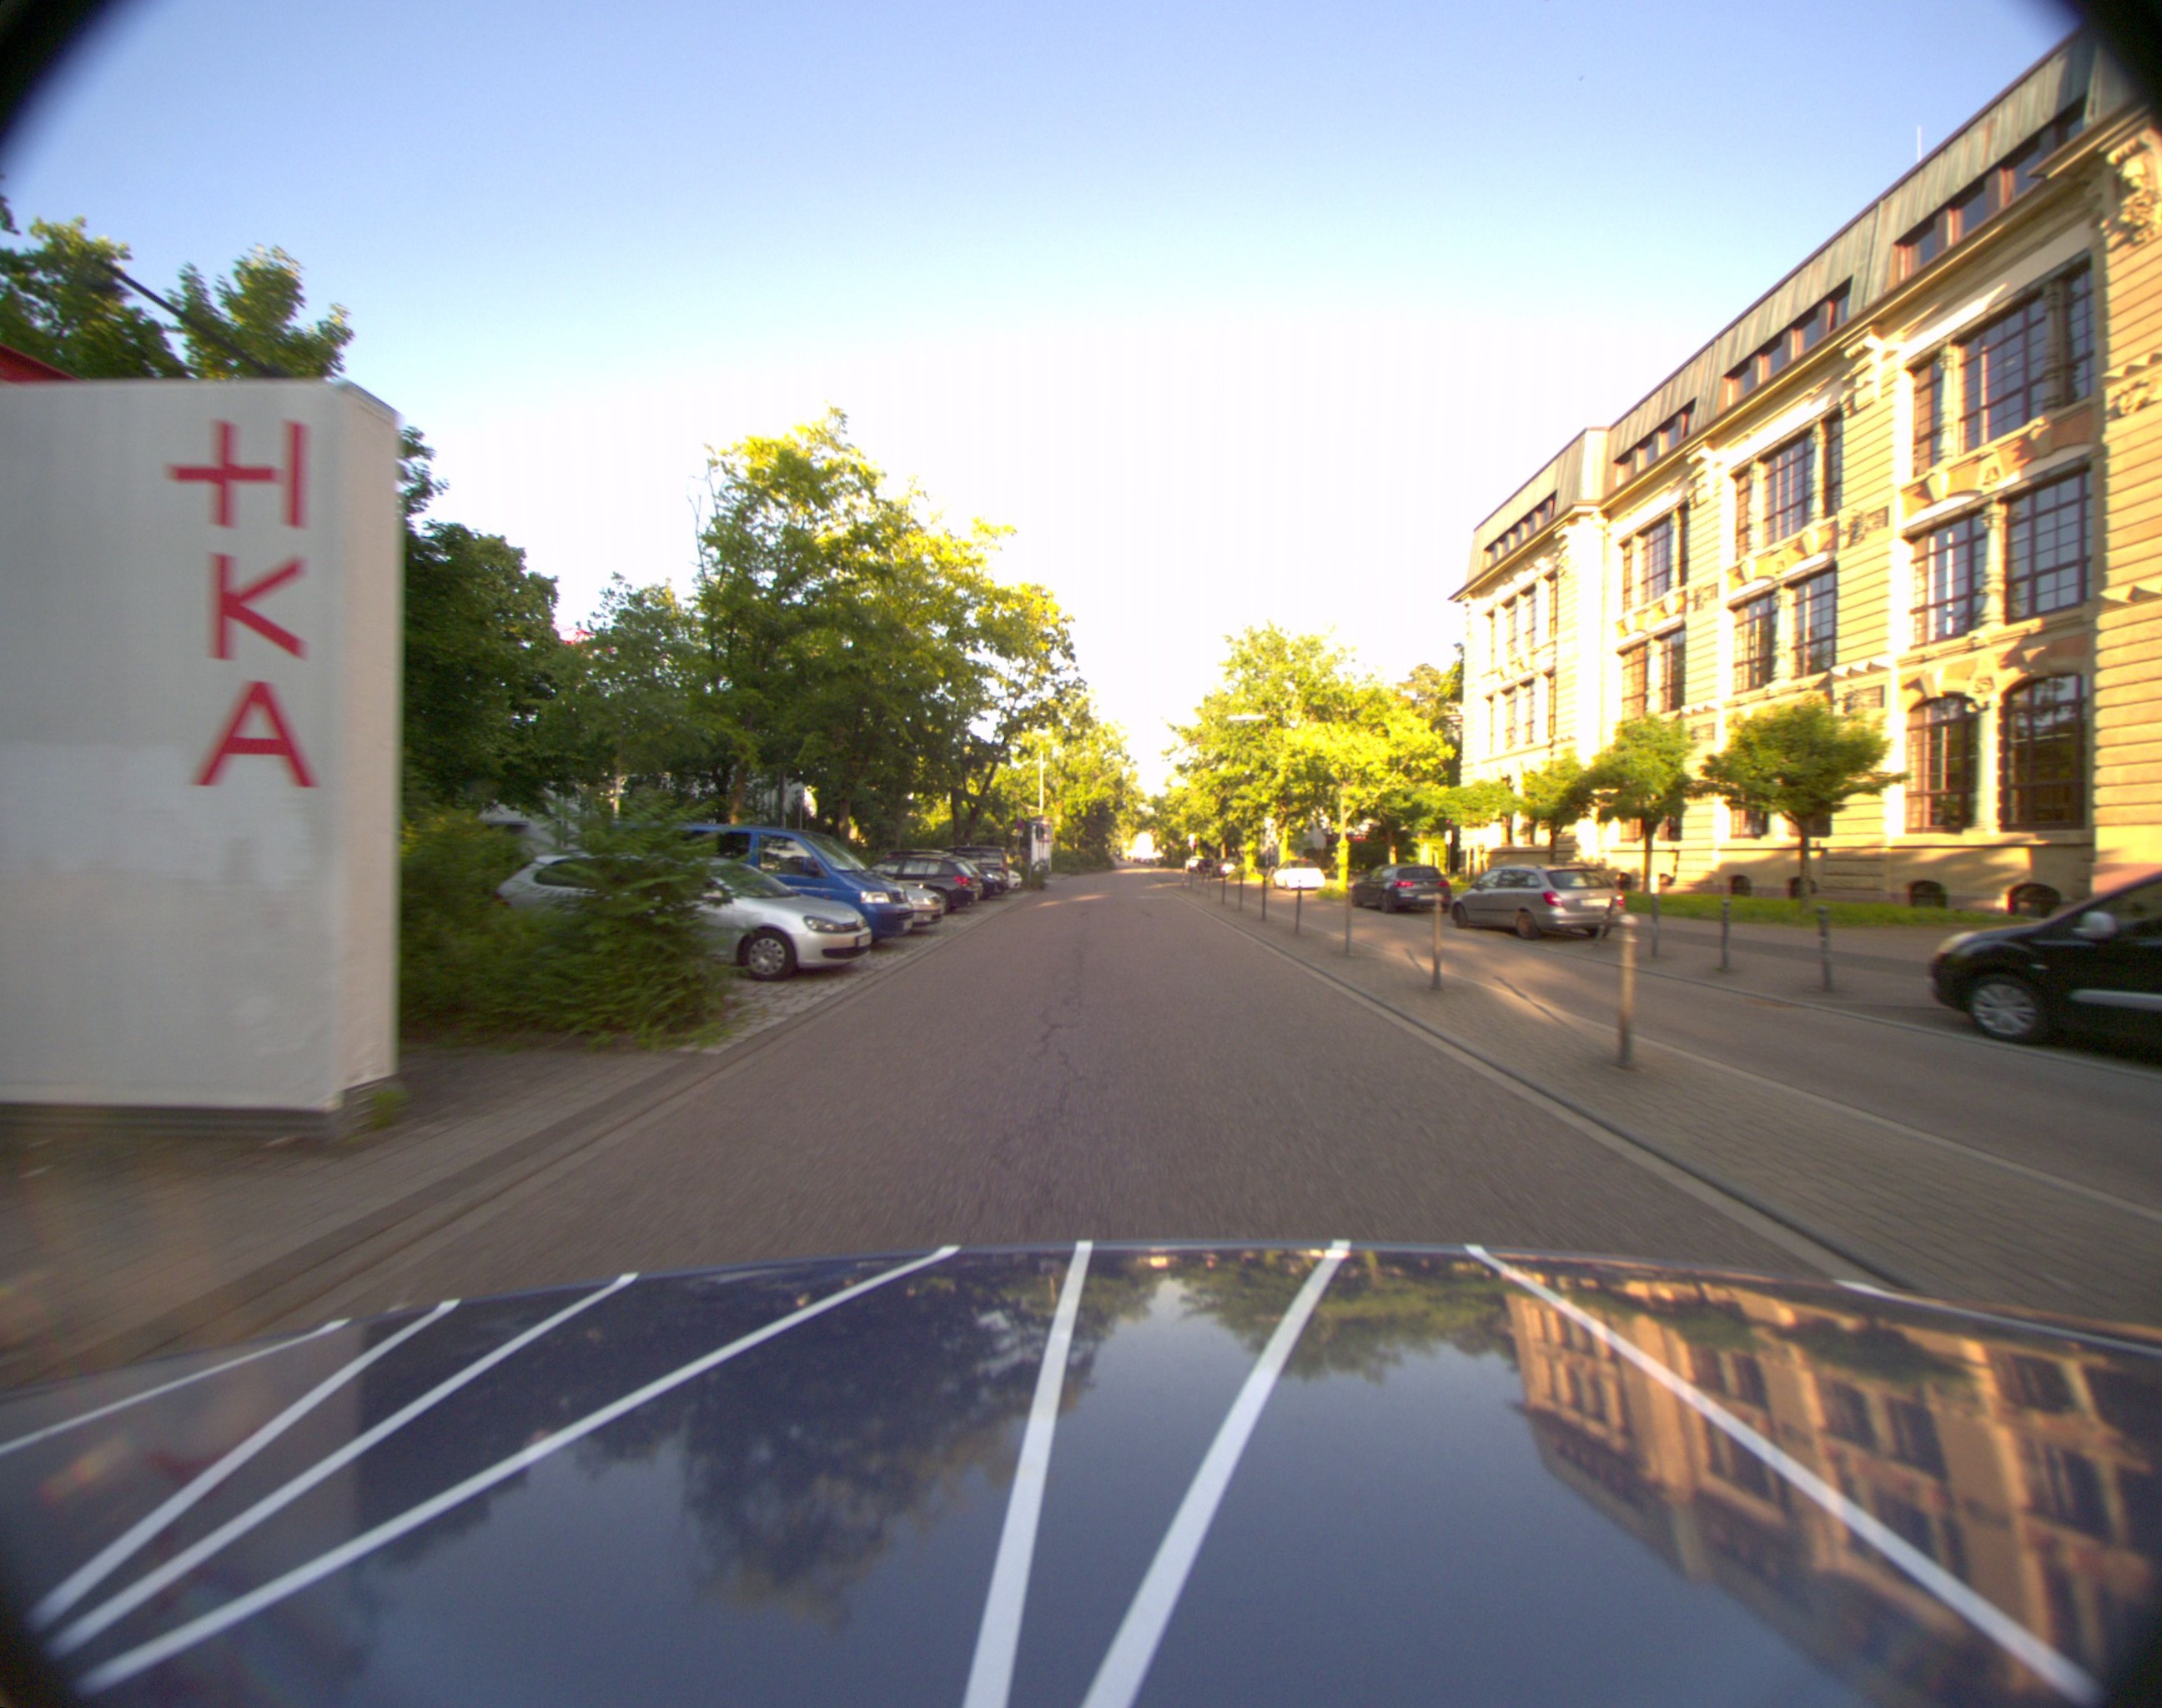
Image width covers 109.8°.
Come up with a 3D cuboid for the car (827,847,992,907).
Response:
[{"bbox_3d":[-4.982,0.653,22.553,4.373,1.528,1.921,3,0,1],"label":"car"}]

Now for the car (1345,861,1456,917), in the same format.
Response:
[{"bbox_3d":[9.553,0.991,23.088,1.621,1.487,4.377,0,0,2],"label":"car"}]

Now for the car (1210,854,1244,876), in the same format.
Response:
[{"bbox_3d":[10.828,0.799,56.519,1.806,1.502,4.863,0,0,3],"label":"car"}]

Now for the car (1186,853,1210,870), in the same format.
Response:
[{"bbox_3d":[11.560,0.688,75.395,1.807,1.607,4.147,1,0,2],"label":"car"}]

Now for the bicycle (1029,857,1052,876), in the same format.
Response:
[{"bbox_3d":[-2.565,0.813,48.618,0.492,1.141,2.289,4,0,22],"label":"bicycle"}]

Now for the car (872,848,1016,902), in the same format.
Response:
[{"bbox_3d":[-4.476,0.659,25.247,4.373,1.545,1.876,3,0,1],"label":"car"}]

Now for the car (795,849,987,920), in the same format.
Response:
[{"bbox_3d":[-4.773,0.740,19.553,4.373,1.528,1.921,3,0,1],"label":"car"}]

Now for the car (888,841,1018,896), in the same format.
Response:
[{"bbox_3d":[-4.666,0.521,28.069,4.373,1.770,1.921,3,1,1],"label":"car"}]

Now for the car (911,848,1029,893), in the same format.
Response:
[{"bbox_3d":[-4.359,0.647,30.311,4.373,1.545,1.727,3,1,1],"label":"car"}]

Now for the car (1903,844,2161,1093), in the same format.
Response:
[{"bbox_3d":[9.065,0.864,5.417,1.781,1.855,4.333,-2,0,2],"label":"car"}]

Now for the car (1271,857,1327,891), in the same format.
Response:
[{"bbox_3d":[10.217,0.899,35.927,1.621,1.487,3.925,0,0,2],"label":"car"}]

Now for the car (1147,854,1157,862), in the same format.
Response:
[{"bbox_3d":[14.266,0.784,152.705,1.776,1.474,4.109,-1,0,2],"label":"car"}]

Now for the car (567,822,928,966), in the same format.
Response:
[{"bbox_3d":[-5.135,0.584,12.184,4.864,1.904,1.916,3,1,1],"label":"car"}]

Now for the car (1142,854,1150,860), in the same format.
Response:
[{"bbox_3d":[15.590,0.762,182.473,1.776,1.559,4.109,-1,0,2],"label":"car"}]

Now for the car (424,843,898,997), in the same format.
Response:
[{"bbox_3d":[-5.081,0.754,9.694,4.938,1.545,1.916,3,0,1],"label":"car"}]

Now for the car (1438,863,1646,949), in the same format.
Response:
[{"bbox_3d":[9.550,0.984,16.225,1.723,1.487,4.376,-1,0,-1],"label":"car"}]

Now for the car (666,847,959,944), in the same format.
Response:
[{"bbox_3d":[-5.043,0.755,14.765,4.938,1.545,1.916,3,0,1],"label":"car"}]

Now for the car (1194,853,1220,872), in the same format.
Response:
[{"bbox_3d":[11.114,0.691,67.177,1.784,1.607,4.147,0,0,2],"label":"car"}]
